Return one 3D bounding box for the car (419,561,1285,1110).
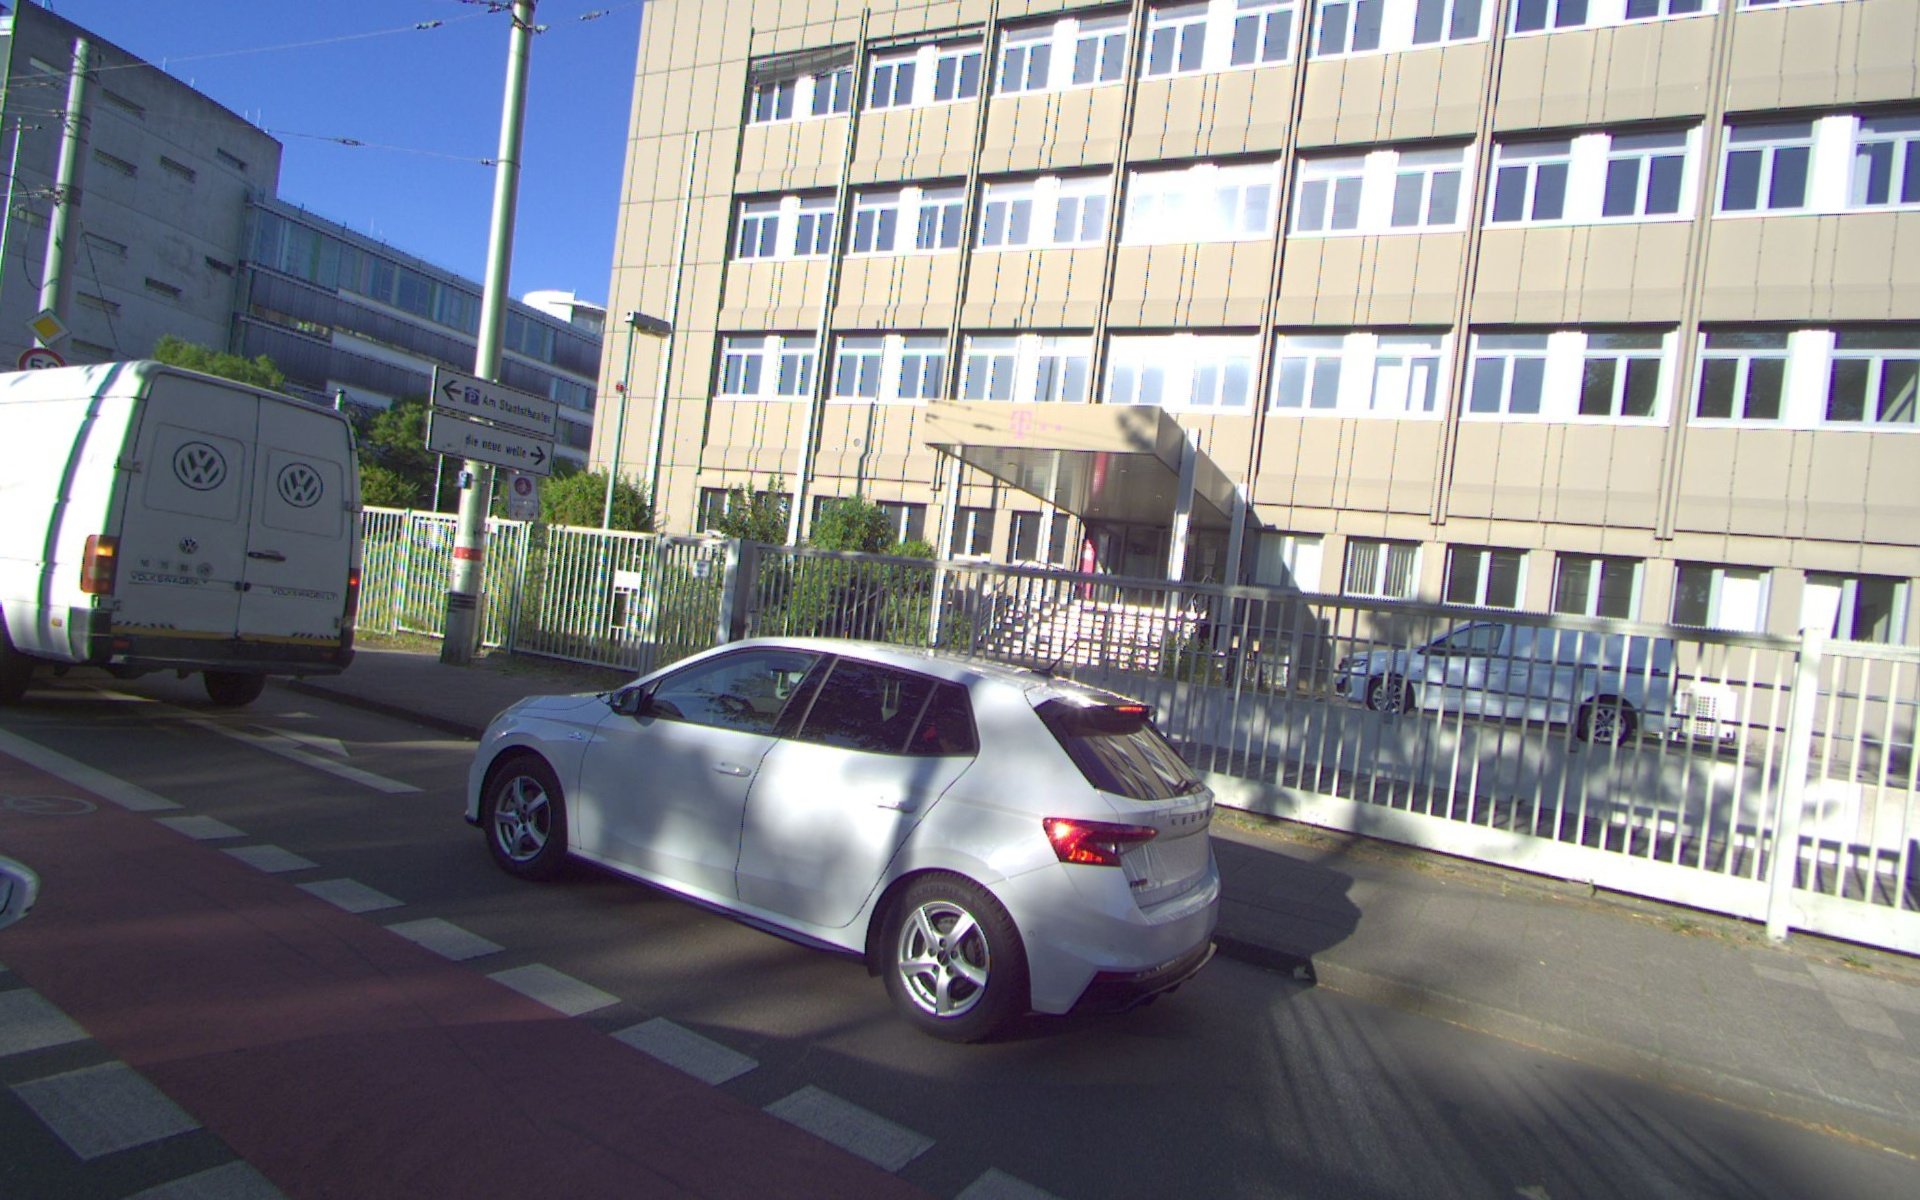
[{"bbox_3d":[-0.618,0.841,5.114,3.913,1.518,1.807,7,-2,29],"label":"car"}]

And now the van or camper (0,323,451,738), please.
[{"bbox_3d":[-7.845,-0.669,9.044,6.235,2.763,2.277,7,-3,27],"label":"van or camper"}]

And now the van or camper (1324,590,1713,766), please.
[{"bbox_3d":[8.537,1.132,15.918,4.910,1.932,1.985,7,0,25],"label":"van or camper"}]
